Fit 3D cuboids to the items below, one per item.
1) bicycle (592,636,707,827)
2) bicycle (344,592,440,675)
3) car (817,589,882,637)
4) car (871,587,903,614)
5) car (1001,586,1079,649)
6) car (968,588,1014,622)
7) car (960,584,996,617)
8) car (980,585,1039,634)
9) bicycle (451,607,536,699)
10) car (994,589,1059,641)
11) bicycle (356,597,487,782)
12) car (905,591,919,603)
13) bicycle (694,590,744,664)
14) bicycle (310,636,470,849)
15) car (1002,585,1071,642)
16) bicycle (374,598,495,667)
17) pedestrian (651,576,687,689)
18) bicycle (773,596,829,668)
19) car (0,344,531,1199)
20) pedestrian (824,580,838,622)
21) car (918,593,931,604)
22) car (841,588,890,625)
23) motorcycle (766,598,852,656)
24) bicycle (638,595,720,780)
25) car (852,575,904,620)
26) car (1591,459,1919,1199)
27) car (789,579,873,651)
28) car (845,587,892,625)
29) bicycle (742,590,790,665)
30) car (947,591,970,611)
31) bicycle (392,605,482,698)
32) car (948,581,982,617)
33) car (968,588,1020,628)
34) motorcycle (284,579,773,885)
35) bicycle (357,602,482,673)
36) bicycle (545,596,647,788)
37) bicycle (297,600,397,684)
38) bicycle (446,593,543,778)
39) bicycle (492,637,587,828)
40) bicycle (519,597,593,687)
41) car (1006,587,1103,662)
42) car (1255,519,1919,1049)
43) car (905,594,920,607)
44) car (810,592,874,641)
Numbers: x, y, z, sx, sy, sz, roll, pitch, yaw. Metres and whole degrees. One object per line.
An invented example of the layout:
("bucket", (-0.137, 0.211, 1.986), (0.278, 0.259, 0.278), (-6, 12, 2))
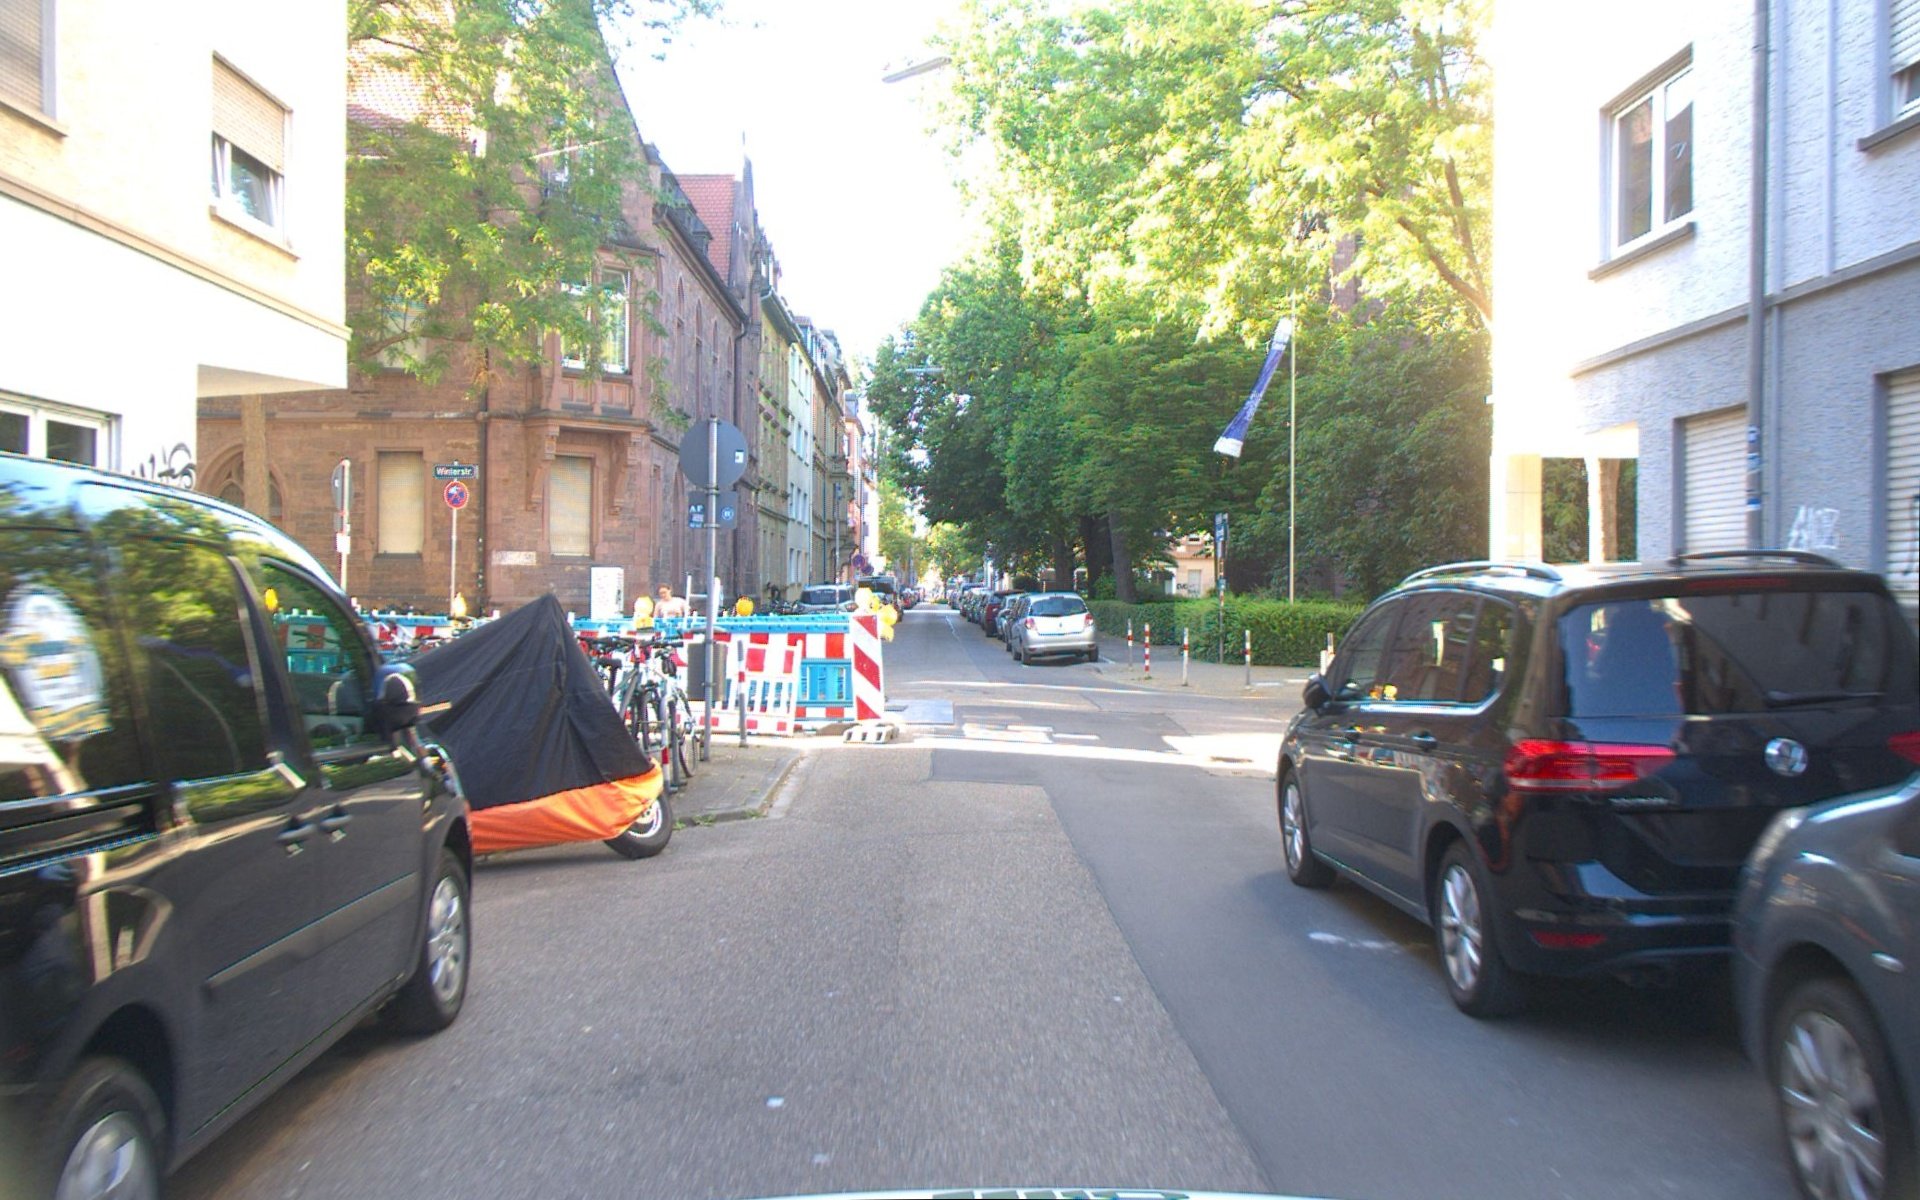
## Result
("bicycle", (-2.125, 0.866, 11.460), (0.416, 1.160, 1.666), (3, 0, 0))
("bicycle", (-9.145, 0.512, 26.729), (0.669, 1.200, 2.445), (0, 2, 1))
("car", (-3.556, 0.408, 53.909), (1.843, 1.435, 4.000), (-1, 0, 0))
("car", (-4.457, 0.022, 101.533), (1.864, 1.601, 3.998), (0, 0, -2))
("car", (2.015, 0.433, 42.477), (1.688, 1.549, 3.998), (0, 0, -2))
("car", (1.433, 0.233, 78.305), (1.953, 1.601, 3.998), (0, 0, -2))
("car", (0.954, 0.027, 89.653), (1.792, 1.733, 3.999), (0, 0, -2))
("car", (1.709, 0.333, 58.136), (1.856, 1.653, 3.999), (0, 0, -2))
("bicycle", (-7.531, 0.824, 26.825), (0.669, 1.344, 2.445), (0, 2, 0))
("car", (2.104, 0.450, 53.313), (1.804, 1.624, 3.999), (0, 0, -2))
("bicycle", (-4.113, 0.636, 12.758), (0.391, 1.248, 2.030), (0, 2, -2))
("car", (-6.603, -0.425, 228.008), (1.953, 1.676, 3.999), (0, 0, -1))
("bicycle", (-4.876, 0.522, 33.574), (0.669, 1.448, 2.797), (0, 0, -1))
("bicycle", (-3.573, 0.843, 10.506), (0.536, 1.175, 1.869), (0, 0, -6))
("car", (2.179, 0.378, 48.123), (1.706, 1.601, 3.998), (0, 0, -2))
("bicycle", (-9.360, 0.569, 29.509), (1.922, 1.200, 0.685), (0, 2, 0))
("pedestrian", (-4.583, 0.507, 26.086), (0.514, 1.771, 0.557), (0, 0, -6))
("bicycle", (-3.208, 0.611, 33.130), (0.672, 1.368, 2.491), (0, 0, -16))
("car", (-2.417, 0.509, 4.184), (1.782, 1.797, 4.332), (0, 0, -4))
("pedestrian", (-6.282, 0.047, 80.544), (0.672, 2.049, 0.690), (0, 0, -8))
("car", (-5.426, -0.256, 250.398), (1.953, 1.676, 3.999), (0, 0, -1))
("car", (-3.589, 0.238, 63.595), (1.735, 1.377, 3.999), (0, 0, -1))
("motorcycle", (-3.344, 0.581, 36.480), (0.661, 1.228, 2.275), (0, 0, -42))
("bicycle", (-2.082, 0.612, 12.358), (0.391, 1.248, 1.505), (0, 2, -2))
("car", (-3.967, -0.117, 80.901), (2.262, 2.151, 5.169), (0, 0, 0))
("car", (2.934, 0.578, 2.896), (1.718, 1.817, 4.723), (-3, 1, -1))
("car", (-3.304, 0.369, 42.916), (1.843, 1.737, 4.000), (-1, 0, 0))
("car", (-4.004, 0.256, 73.036), (1.953, 1.601, 3.998), (0, 0, -2))
("bicycle", (-3.904, 0.523, 33.163), (0.563, 1.448, 2.491), (0, 0, -16))
("car", (-0.125, 0.082, 145.973), (1.953, 1.758, 3.999), (0, 1, -1))
("bicycle", (-8.425, 0.797, 26.753), (0.669, 1.344, 2.445), (0, 2, 0))
("car", (0.303, -0.084, 108.492), (2.117, 2.295, 4.524), (0, 0, -2))
("car", (1.373, 0.309, 68.004), (1.953, 1.601, 3.998), (0, 0, -2))
("motorcycle", (-2.359, 0.651, 9.152), (2.483, 1.508, 0.895), (0, 0, -28))
("bicycle", (-9.318, 0.640, 28.570), (1.922, 1.200, 0.685), (0, 2, 0))
("bicycle", (-2.660, 0.626, 12.217), (0.391, 1.248, 1.873), (0, 2, -2))
("bicycle", (-9.865, 0.648, 26.719), (0.669, 1.200, 2.445), (0, 2, 1))
("bicycle", (-3.487, 0.600, 12.486), (0.288, 1.248, 1.699), (0, 2, -2))
("bicycle", (-3.103, 0.940, 12.302), (0.356, 1.248, 1.553), (0, 2, -2))
("bicycle", (-6.567, 0.660, 26.982), (0.669, 1.344, 2.143), (0, 2, 0))
("car", (2.052, 0.502, 36.946), (1.689, 1.549, 3.997), (0, 1, -4))
("car", (2.697, 0.582, 7.439), (1.862, 1.668, 4.389), (0, 0, -1))
("car", (-6.343, 0.078, 219.498), (1.953, 1.676, 3.999), (0, 0, -1))
("car", (-3.483, 0.465, 49.396), (1.690, 1.417, 3.999), (0, 0, -1))
